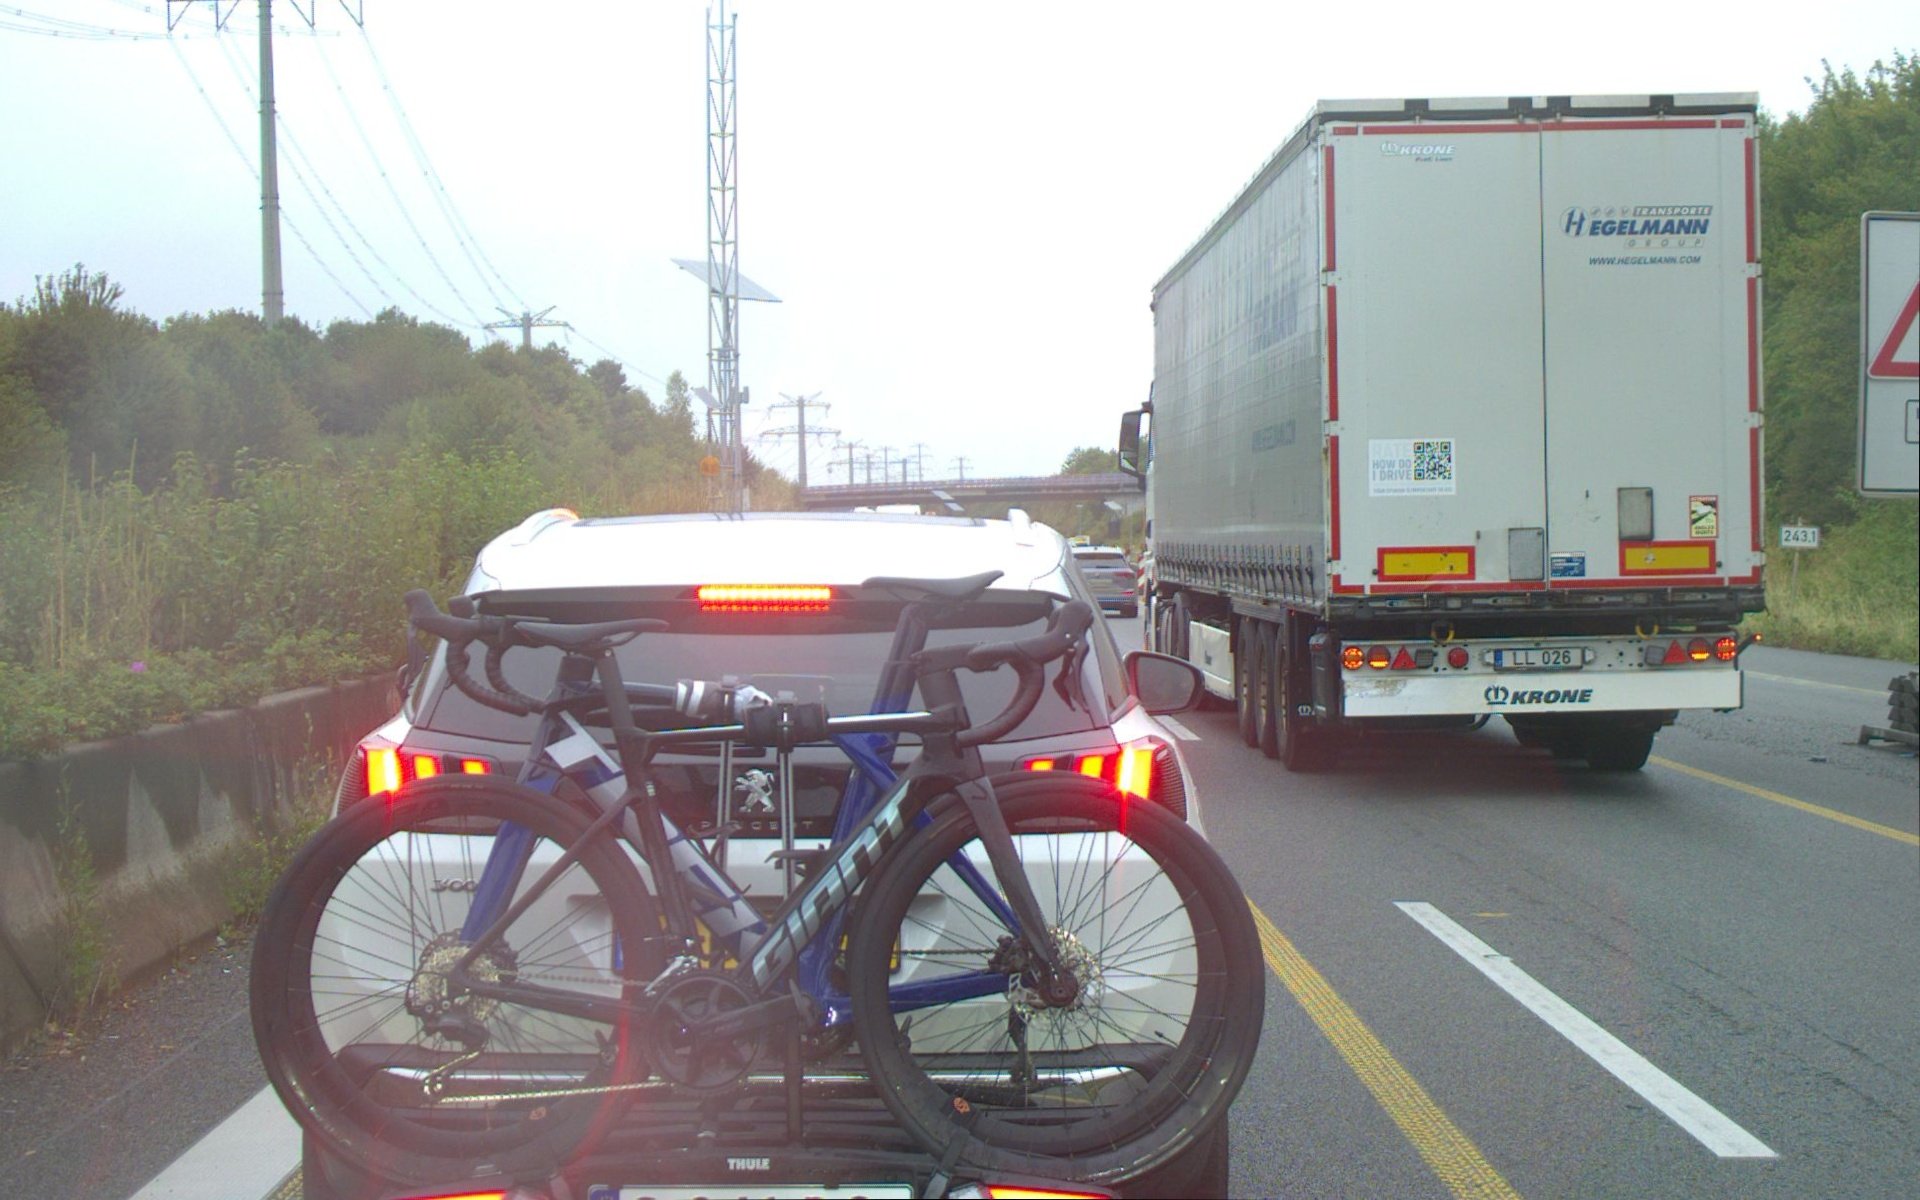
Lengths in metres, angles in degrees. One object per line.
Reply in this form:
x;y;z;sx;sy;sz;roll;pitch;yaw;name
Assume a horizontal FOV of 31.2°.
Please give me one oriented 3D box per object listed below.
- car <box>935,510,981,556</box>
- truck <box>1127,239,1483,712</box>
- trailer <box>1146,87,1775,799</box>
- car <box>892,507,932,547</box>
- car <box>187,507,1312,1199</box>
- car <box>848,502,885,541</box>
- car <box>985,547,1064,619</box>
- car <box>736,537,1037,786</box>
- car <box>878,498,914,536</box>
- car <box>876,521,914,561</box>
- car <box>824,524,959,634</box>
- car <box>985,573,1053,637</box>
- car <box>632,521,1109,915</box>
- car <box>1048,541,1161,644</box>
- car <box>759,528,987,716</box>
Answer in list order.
-0.102;-2.942;150.213;1.931;1.966;4.001;0;2;-1;car
3.125;-1.133;32.852;2.660;4.062;6.539;0;1;-1;truck
3.229;-1.022;26.469;2.692;4.062;13.634;0;1;-1;trailer
-2.383;-3.626;170.836;1.931;1.904;4.001;0;2;-1;car
-0.373;0.566;8.050;1.850;1.525;4.769;0;1;-1;car
-5.933;-4.962;217.982;2.257;2.416;4.001;0;2;-1;car
1.826;-0.511;99.011;2.148;1.966;4.001;0;2;-1;car
-0.475;0.342;23.174;1.850;1.525;4.000;0;1;-1;car
-3.398;-4.442;183.170;1.931;1.966;4.001;0;2;-1;car
-3.368;-3.052;177.768;1.931;1.966;4.001;0;2;-1;car
-0.968;-0.328;49.479;1.850;1.525;4.000;0;1;-1;car
1.948;0.145;115.023;2.148;1.966;4.001;0;2;-1;car
-0.369;0.421;15.342;1.850;1.525;4.000;0;1;-1;car
2.929;-0.184;70.591;2.110;1.966;4.001;0;2;-1;car
-0.729;0.138;29.949;1.850;1.525;4.000;0;1;-1;car
